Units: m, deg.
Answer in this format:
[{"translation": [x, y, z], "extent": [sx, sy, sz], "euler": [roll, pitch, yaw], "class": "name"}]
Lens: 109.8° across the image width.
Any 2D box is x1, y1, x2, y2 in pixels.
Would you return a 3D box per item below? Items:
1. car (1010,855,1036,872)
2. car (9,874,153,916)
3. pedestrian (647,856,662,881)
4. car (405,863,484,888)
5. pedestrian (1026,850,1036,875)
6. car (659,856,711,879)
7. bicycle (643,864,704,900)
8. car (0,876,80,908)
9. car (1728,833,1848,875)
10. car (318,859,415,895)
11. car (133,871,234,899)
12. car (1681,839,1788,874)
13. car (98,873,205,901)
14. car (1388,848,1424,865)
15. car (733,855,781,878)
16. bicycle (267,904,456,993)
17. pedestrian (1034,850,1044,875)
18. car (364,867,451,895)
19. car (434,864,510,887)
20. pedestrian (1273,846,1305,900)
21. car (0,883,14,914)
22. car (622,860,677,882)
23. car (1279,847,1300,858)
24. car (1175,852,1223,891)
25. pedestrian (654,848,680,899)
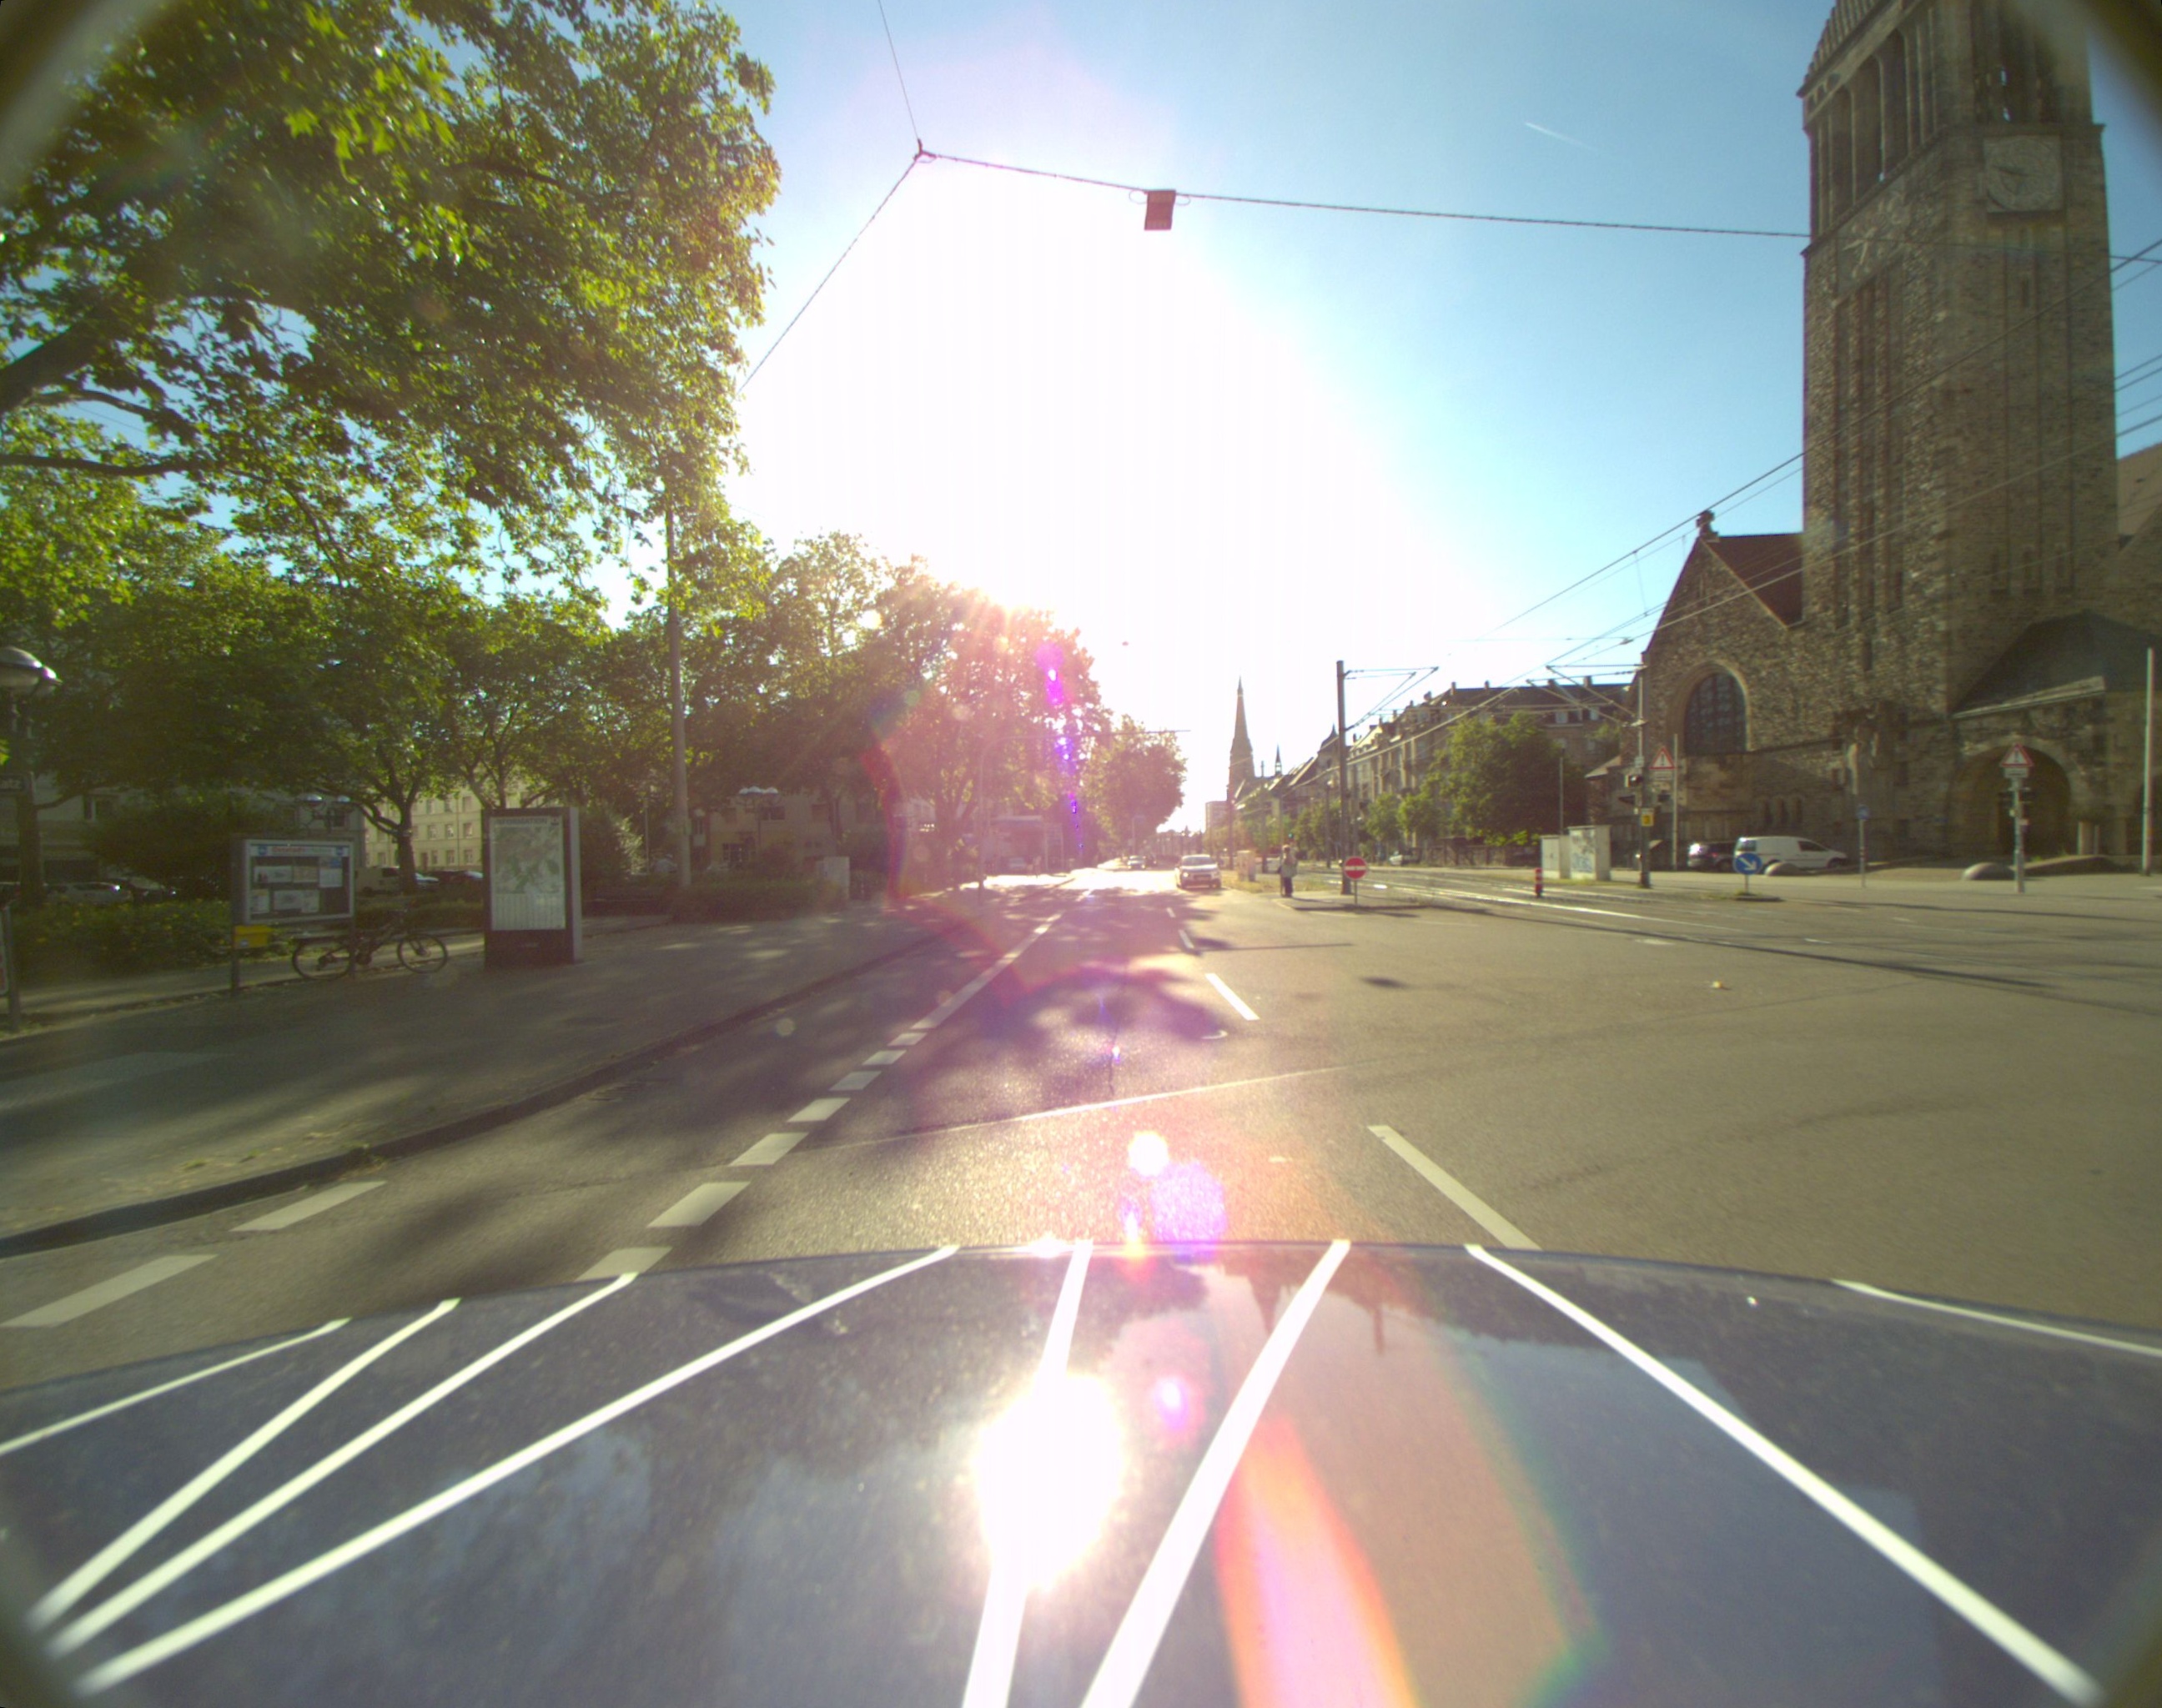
[{"translation": [-5.082, 0.794, 67.010], "extent": [1.720, 1.319, 3.754], "euler": [-3, 1, 4], "class": "car"}, {"translation": [-44.244, 1.801, 33.682], "extent": [3.996, 1.513, 1.922], "euler": [-3, 1, 4], "class": "car"}, {"translation": [-28.896, 0.974, 51.512], "extent": [0.539, 1.604, 0.631], "euler": [-3, 1, 2], "class": "pedestrian"}, {"translation": [-43.520, 1.459, 51.997], "extent": [3.996, 1.400, 1.779], "euler": [-3, 1, 4], "class": "car"}, {"translation": [-3.754, 0.635, 56.813], "extent": [0.631, 1.833, 0.540], "euler": [-3, 1, 2], "class": "pedestrian"}, {"translation": [-30.241, 0.975, 58.195], "extent": [1.710, 1.650, 4.180], "euler": [-2, 0, 1], "class": "car"}, {"translation": [-14.329, 0.972, 26.733], "extent": [1.725, 1.156, 0.697], "euler": [-4, 1, -39], "class": "bicycle"}, {"translation": [-54.861, 1.937, 39.205], "extent": [4.348, 1.472, 1.780], "euler": [1, 1, 4], "class": "car"}, {"translation": [34.906, -0.022, 37.590], "extent": [4.023, 1.795, 1.870], "euler": [-3, 1, 4], "class": "car"}, {"translation": [-43.915, 1.415, 46.757], "extent": [3.996, 1.905, 2.048], "euler": [-3, 1, 4], "class": "car"}, {"translation": [-55.150, 1.891, 46.732], "extent": [4.348, 1.512, 1.780], "euler": [1, 1, 4], "class": "car"}, {"translation": [34.761, 0.101, 40.480], "extent": [4.039, 1.621, 1.768], "euler": [-3, 1, 4], "class": "car"}, {"translation": [-54.499, 1.932, 44.603], "extent": [4.348, 1.472, 1.780], "euler": [1, 1, 4], "class": "car"}, {"translation": [31.161, 0.218, 72.970], "extent": [1.786, 1.521, 4.214], "euler": [-3, 1, 4], "class": "car"}, {"translation": [-24.844, 0.958, 58.368], "extent": [1.806, 1.649, 4.180], "euler": [-2, 0, 1], "class": "car"}, {"translation": [-10.111, 1.306, 10.759], "extent": [1.826, 1.047, 0.534], "euler": [-3, 1, -23], "class": "bicycle"}, {"translation": [-3.117, 0.604, 56.746], "extent": [0.631, 1.833, 0.540], "euler": [-3, 1, 2], "class": "pedestrian"}, {"translation": [-43.733, 1.748, 49.393], "extent": [3.996, 1.513, 1.922], "euler": [-3, 1, 4], "class": "car"}, {"translation": [-43.538, 1.523, 54.344], "extent": [3.996, 1.400, 1.779], "euler": [-3, 1, 4], "class": "car"}, {"translation": [6.435, 0.578, 23.500], "extent": [0.678, 1.612, 0.925], "euler": [-3, 1, 1], "class": "pedestrian"}, {"translation": [-54.772, 2.181, 36.669], "extent": [4.348, 1.472, 1.780], "euler": [1, 1, 4], "class": "car"}, {"translation": [-32.911, 1.285, 58.052], "extent": [1.710, 1.493, 4.180], "euler": [-2, 0, 1], "class": "car"}, {"translation": [28.659, -0.172, 104.704], "extent": [1.998, 1.419, 4.554], "euler": [0, 1, 4], "class": "car"}, {"translation": [5.156, 0.722, 33.606], "extent": [1.636, 1.491, 4.000], "euler": [-3, 1, 3], "class": "car"}, {"translation": [-14.687, 0.693, 26.955], "extent": [0.556, 1.775, 0.624], "euler": [-4, 2, -45], "class": "pedestrian"}]
